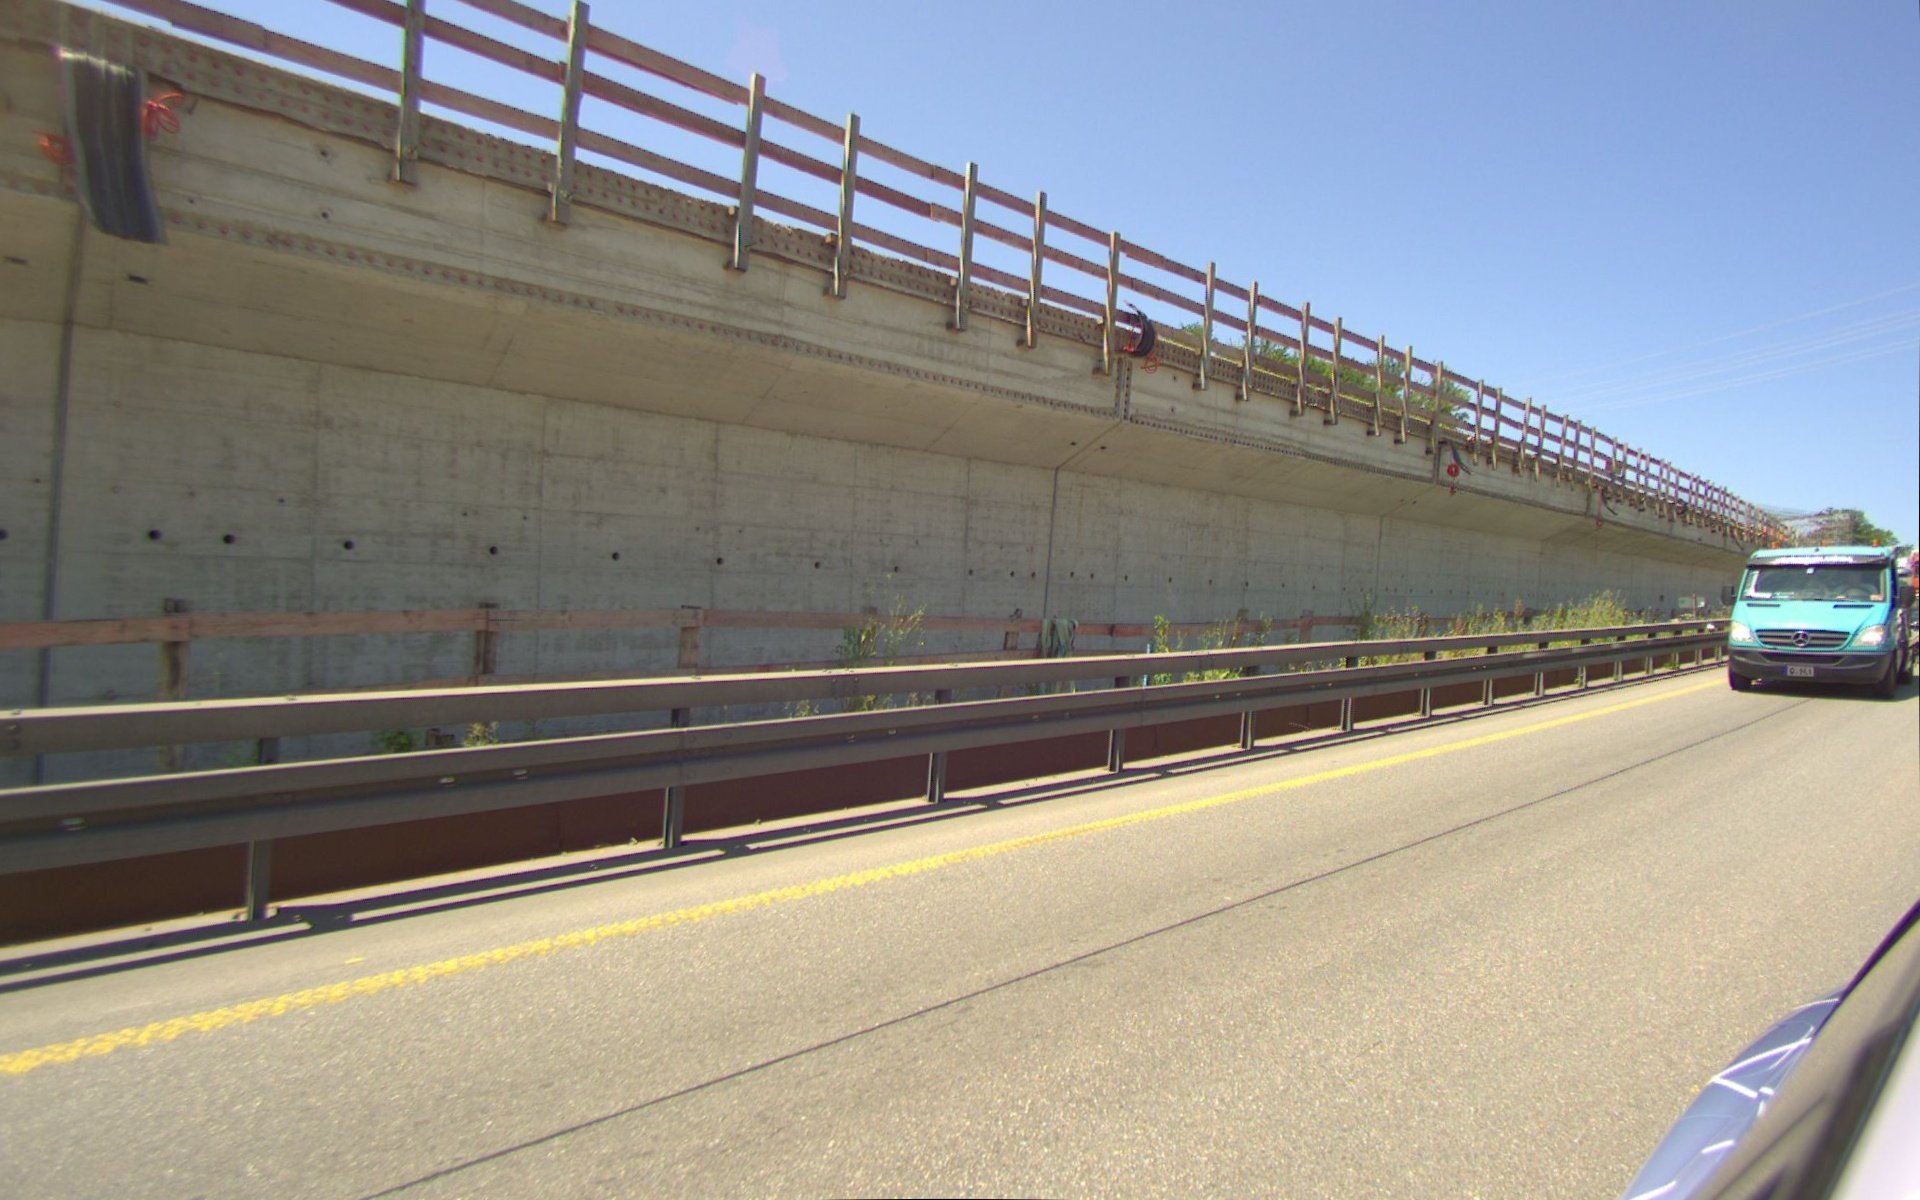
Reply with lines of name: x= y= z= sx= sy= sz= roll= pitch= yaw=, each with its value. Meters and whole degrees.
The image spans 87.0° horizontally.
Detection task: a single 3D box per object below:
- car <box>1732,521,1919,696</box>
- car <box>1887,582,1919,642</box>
car: x=15.084 y=0.091 z=17.072 sx=7.085 sy=2.411 sz=1.966 roll=0 pitch=1 yaw=-42
car: x=28.862 y=0.317 z=29.875 sx=3.932 sy=1.681 sz=1.857 roll=-1 pitch=1 yaw=-42
